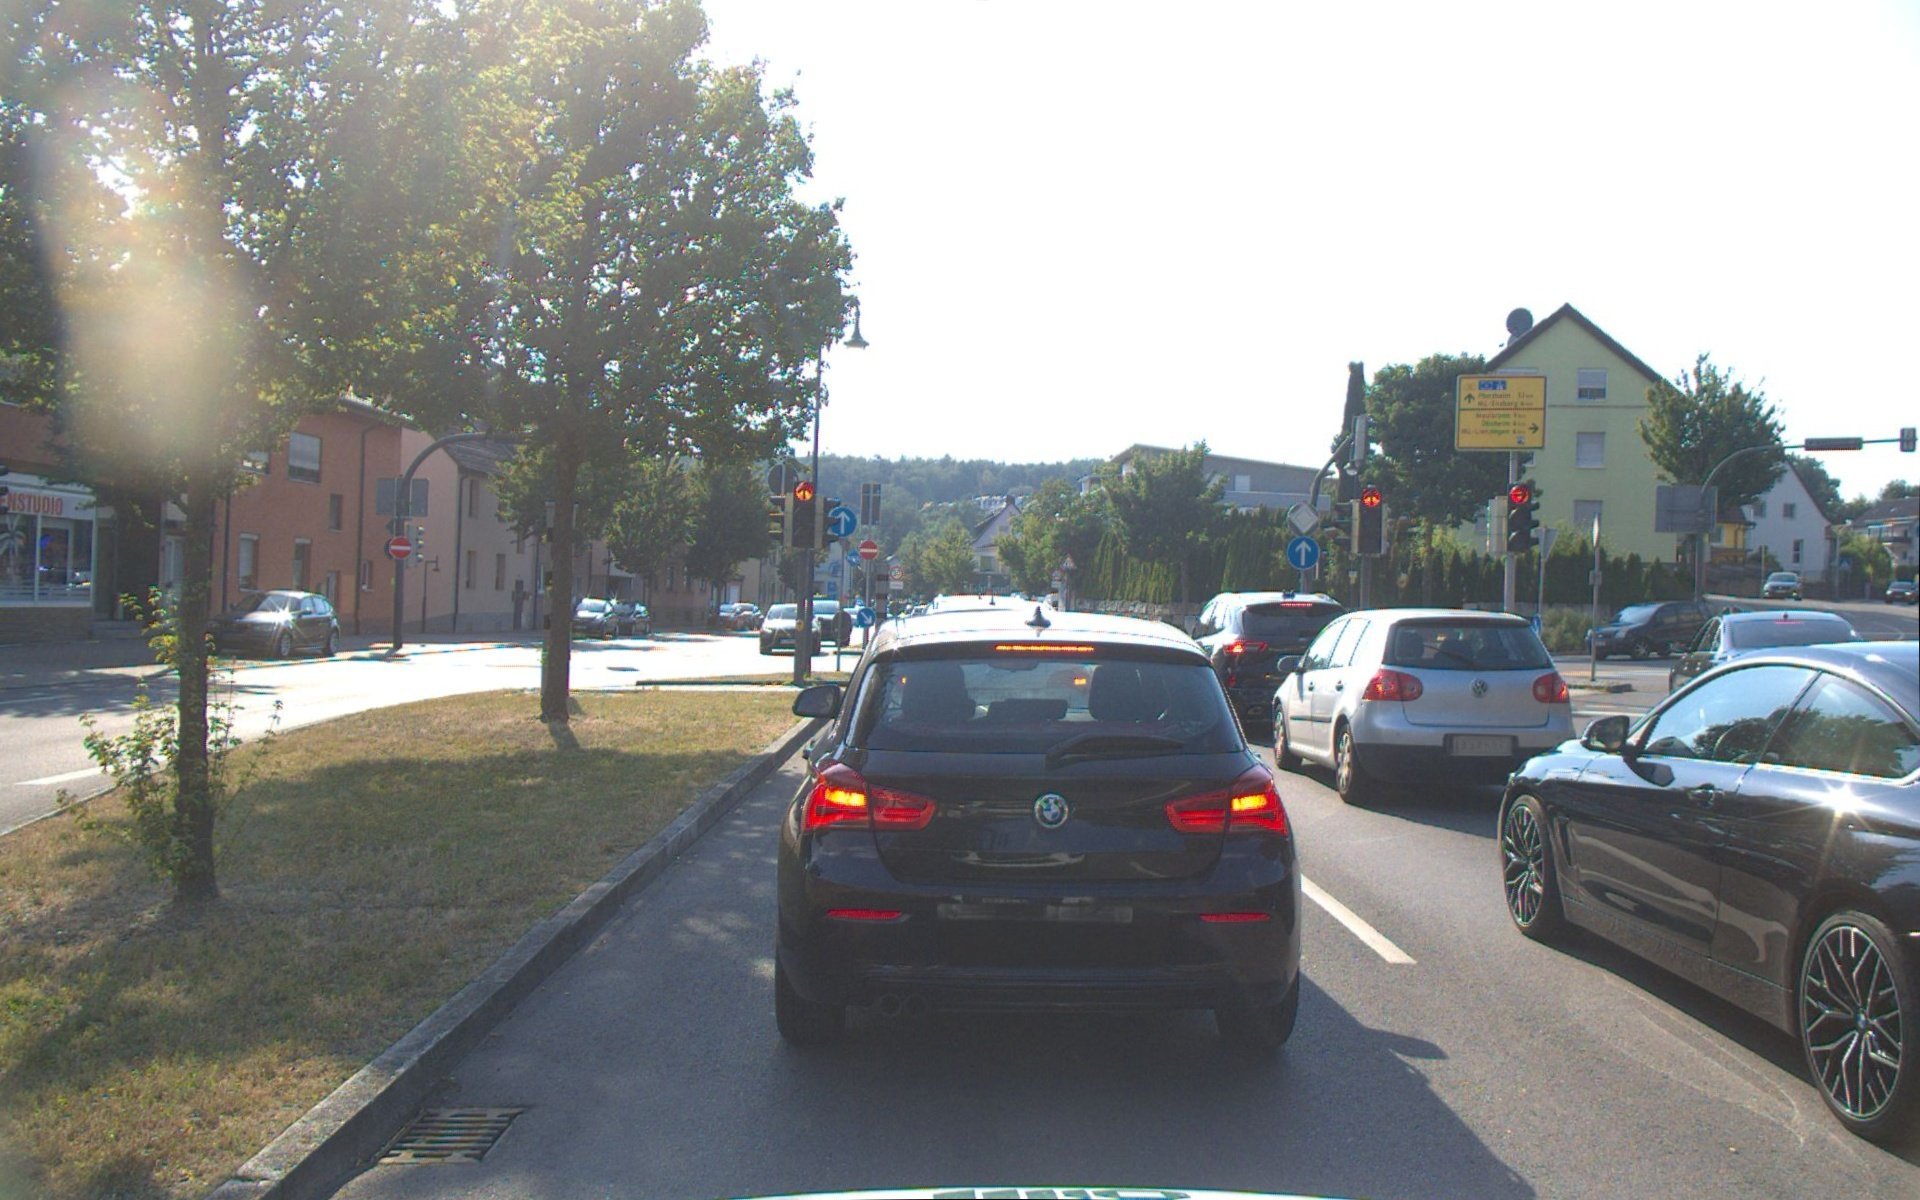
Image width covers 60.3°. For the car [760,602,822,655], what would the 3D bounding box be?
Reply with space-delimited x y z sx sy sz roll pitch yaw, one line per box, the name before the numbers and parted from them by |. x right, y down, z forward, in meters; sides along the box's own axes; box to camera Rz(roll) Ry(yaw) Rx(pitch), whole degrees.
car | -5.057 0.815 49.352 1.732 1.484 3.994 1 0 -6

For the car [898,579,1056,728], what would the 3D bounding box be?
car | 0.220 0.606 20.900 1.779 1.670 4.242 1 0 1

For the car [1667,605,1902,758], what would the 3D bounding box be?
car | 9.059 0.799 18.515 1.646 1.460 4.591 1 0 18

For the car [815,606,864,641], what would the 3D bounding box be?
car | -5.001 0.953 69.140 1.658 1.377 4.000 1 0 1

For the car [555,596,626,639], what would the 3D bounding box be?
car | -14.930 0.683 66.965 1.884 1.624 4.000 1 0 1

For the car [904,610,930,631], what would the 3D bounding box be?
car | -3.733 1.726 141.857 1.854 1.732 4.518 0 0 -6

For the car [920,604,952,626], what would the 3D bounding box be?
car | -1.775 1.108 120.673 1.826 1.511 4.652 1 0 -6

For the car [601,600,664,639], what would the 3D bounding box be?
car | -14.394 0.850 72.810 1.884 1.624 4.000 1 0 1

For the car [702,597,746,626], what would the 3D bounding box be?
car | -13.815 0.675 97.086 1.884 1.624 4.000 1 0 1

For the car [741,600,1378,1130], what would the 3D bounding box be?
car | 0.306 0.737 6.776 1.754 1.439 4.347 1 0 1

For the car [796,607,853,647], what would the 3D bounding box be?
car | -4.931 0.971 60.577 1.658 1.377 4.000 1 0 1

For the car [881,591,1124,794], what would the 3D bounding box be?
car | 0.344 0.680 14.368 1.779 1.476 4.242 1 0 1

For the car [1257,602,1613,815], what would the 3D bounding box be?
car | 3.751 0.769 13.874 1.779 1.471 4.347 1 0 1

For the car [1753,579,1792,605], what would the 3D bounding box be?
car | 41.766 -0.428 84.989 1.678 1.266 3.995 1 1 28

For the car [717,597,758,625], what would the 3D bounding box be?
car | -13.768 0.664 102.592 1.884 1.624 4.000 1 0 1

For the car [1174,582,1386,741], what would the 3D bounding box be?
car | 3.762 0.664 20.159 1.779 1.695 4.347 1 0 1

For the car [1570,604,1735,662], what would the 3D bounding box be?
car | 19.213 0.913 45.923 3.990 1.533 1.784 1 0 -16

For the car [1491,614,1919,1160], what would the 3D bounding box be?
car | 3.468 0.790 5.918 1.779 1.413 4.347 1 0 1

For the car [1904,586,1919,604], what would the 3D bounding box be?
car | 85.189 -0.446 147.371 1.744 1.607 3.990 1 0 32

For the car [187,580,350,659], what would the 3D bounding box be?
car | -15.494 0.414 37.312 1.805 1.579 4.001 3 0 2

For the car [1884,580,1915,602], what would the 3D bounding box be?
car | 72.205 -0.682 127.091 1.745 1.607 3.987 1 0 34
